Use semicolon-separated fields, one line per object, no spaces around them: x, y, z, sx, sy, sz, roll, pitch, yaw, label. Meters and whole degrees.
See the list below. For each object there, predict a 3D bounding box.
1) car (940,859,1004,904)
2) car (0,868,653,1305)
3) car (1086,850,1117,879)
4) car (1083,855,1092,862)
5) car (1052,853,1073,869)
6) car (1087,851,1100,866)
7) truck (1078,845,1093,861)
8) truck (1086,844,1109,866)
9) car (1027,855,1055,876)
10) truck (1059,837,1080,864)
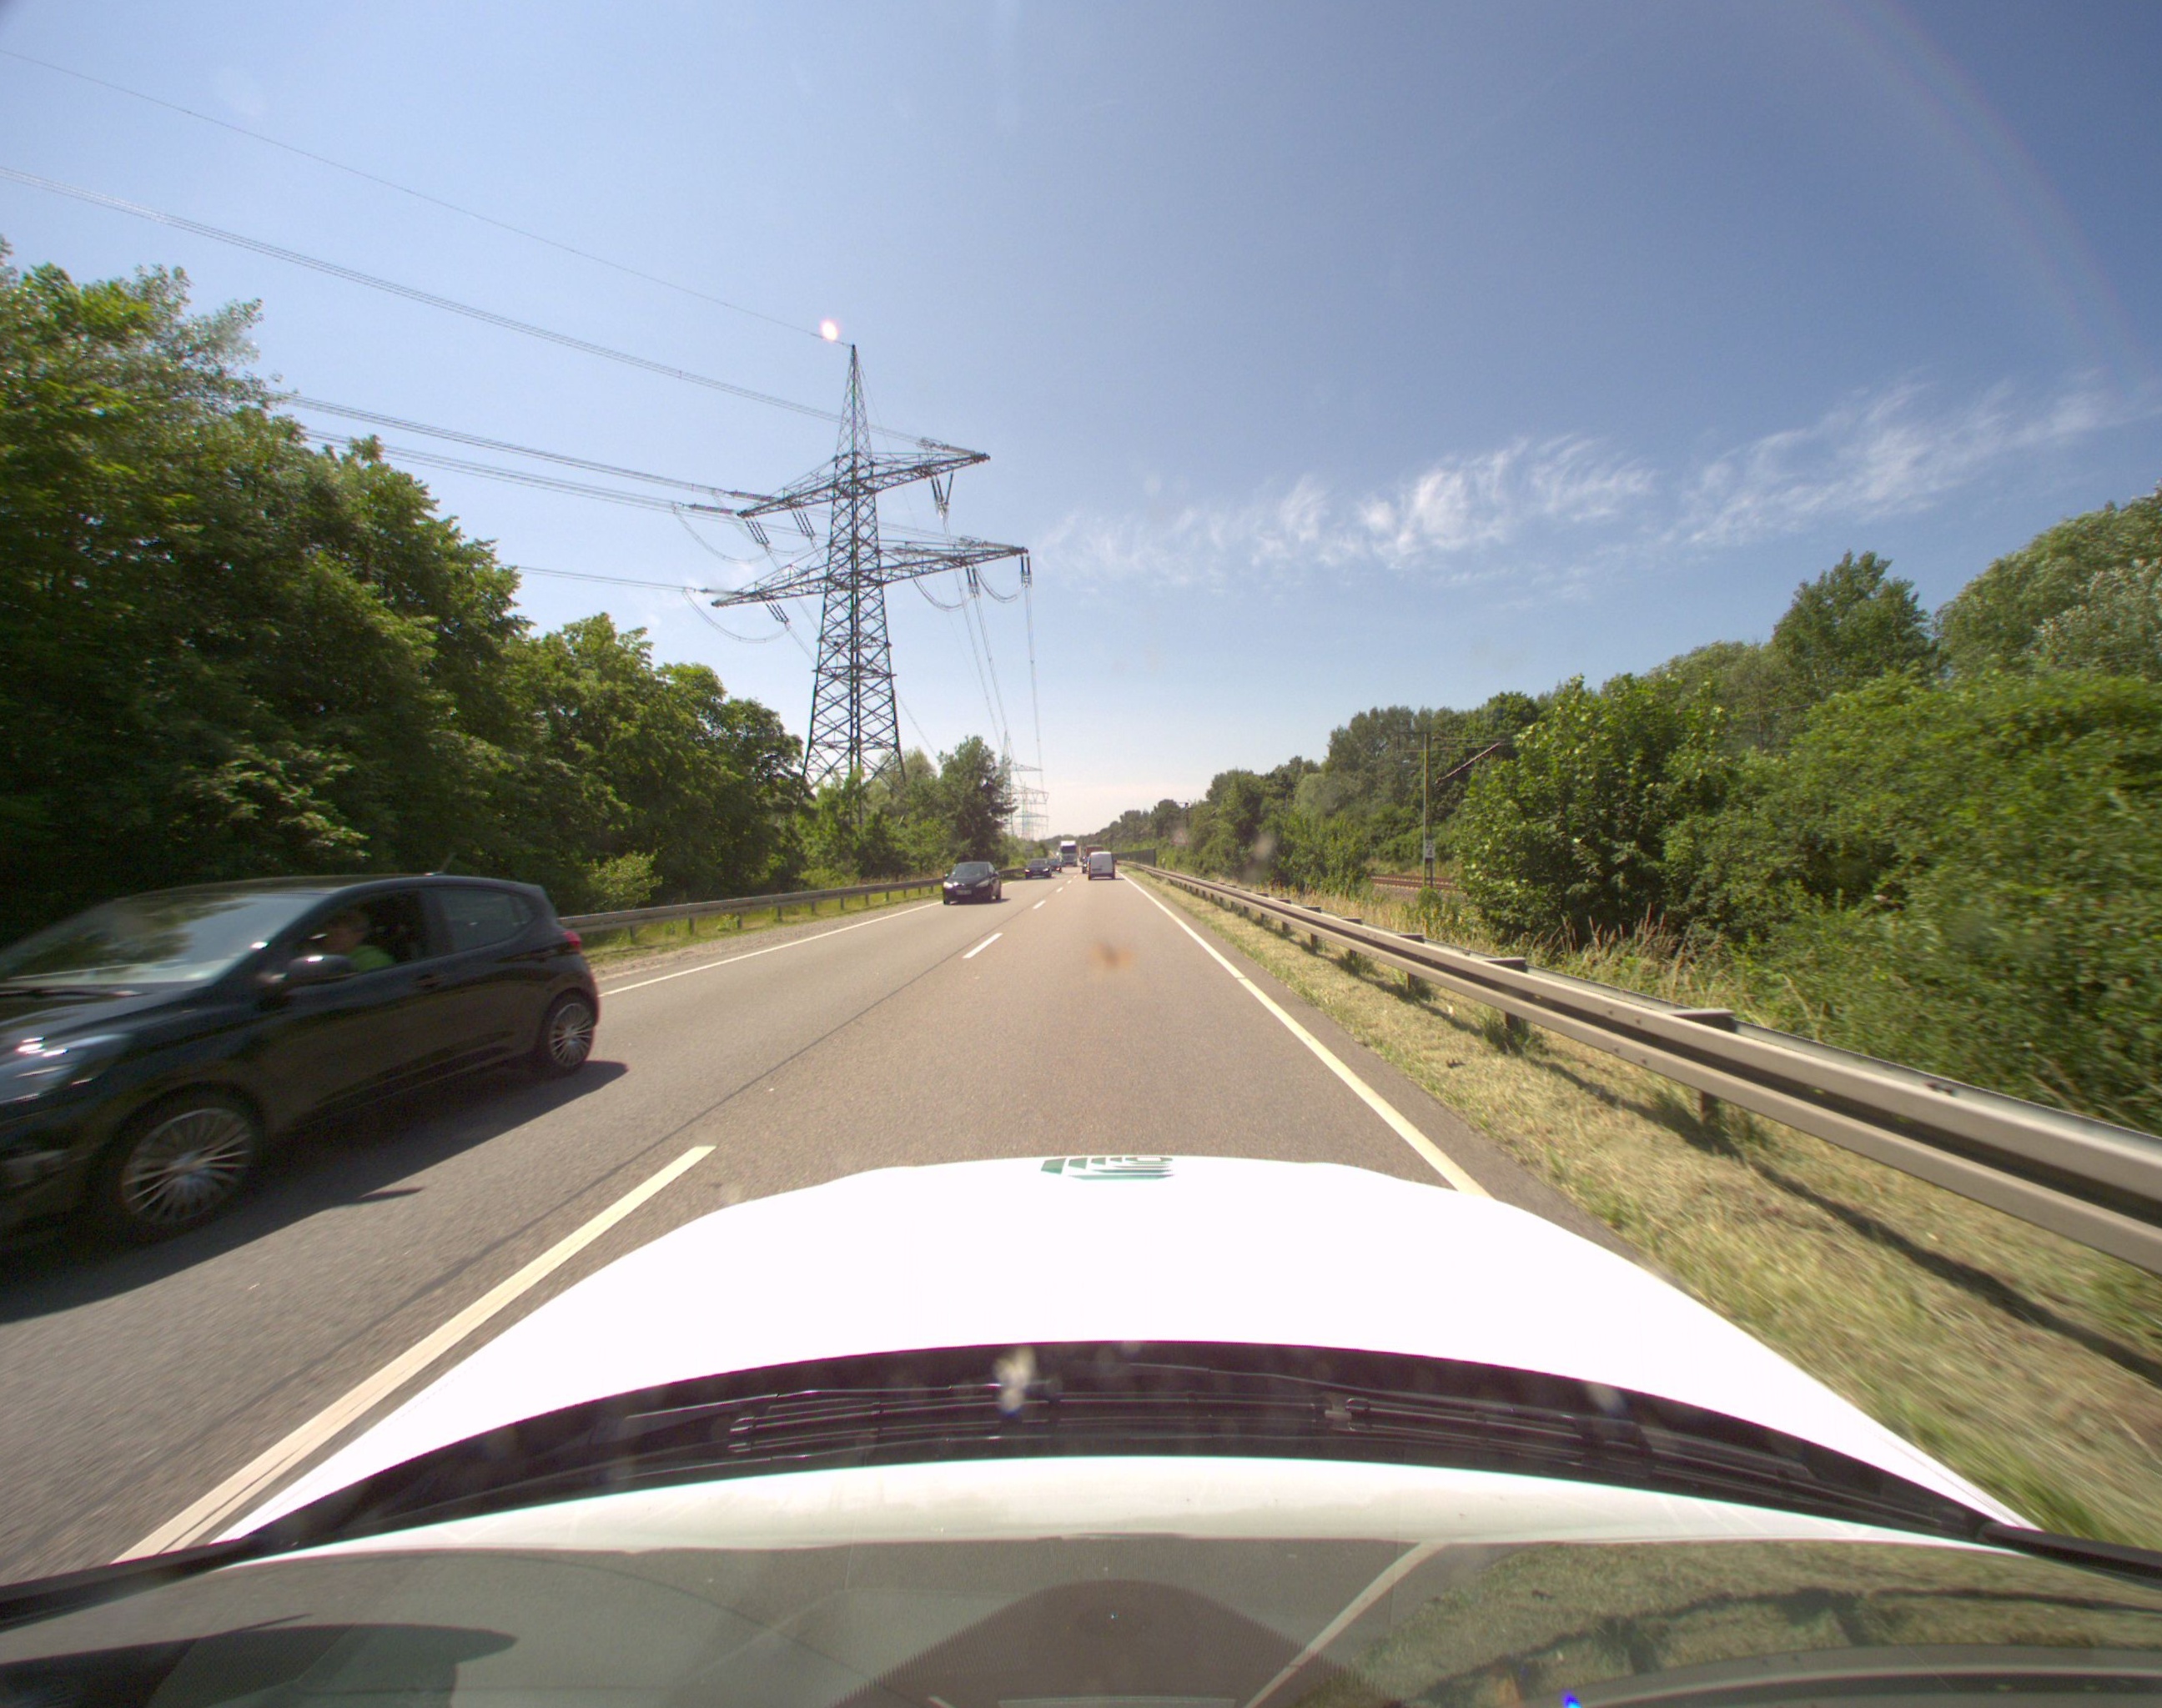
-3.822;0.926;29.297;1.628;1.437;4.414;-2;0;0;car
-4.460;0.845;4.704;1.627;1.437;4.181;-1;0;2;car
1.361;0.663;52.932;1.868;1.741;4.002;-2;0;2;car
1.381;1.022;178.246;1.987;1.526;4.000;-2;0;0;car
-1.802;0.661;81.377;1.794;1.454;4.002;-2;0;2;car
1.779;0.614;118.063;1.758;2.013;3.999;-2;0;0;car
1.020;-0.373;210.442;3.393;3.854;16.810;1;1;-1;truck
2.465;0.070;129.690;3.286;3.171;14.402;1;1;0;truck
-3.039;0.839;62.457;1.838;1.497;4.002;-1;0;2;car
-1.734;-0.541;127.594;2.733;4.042;9.664;-3;0;1;truck
